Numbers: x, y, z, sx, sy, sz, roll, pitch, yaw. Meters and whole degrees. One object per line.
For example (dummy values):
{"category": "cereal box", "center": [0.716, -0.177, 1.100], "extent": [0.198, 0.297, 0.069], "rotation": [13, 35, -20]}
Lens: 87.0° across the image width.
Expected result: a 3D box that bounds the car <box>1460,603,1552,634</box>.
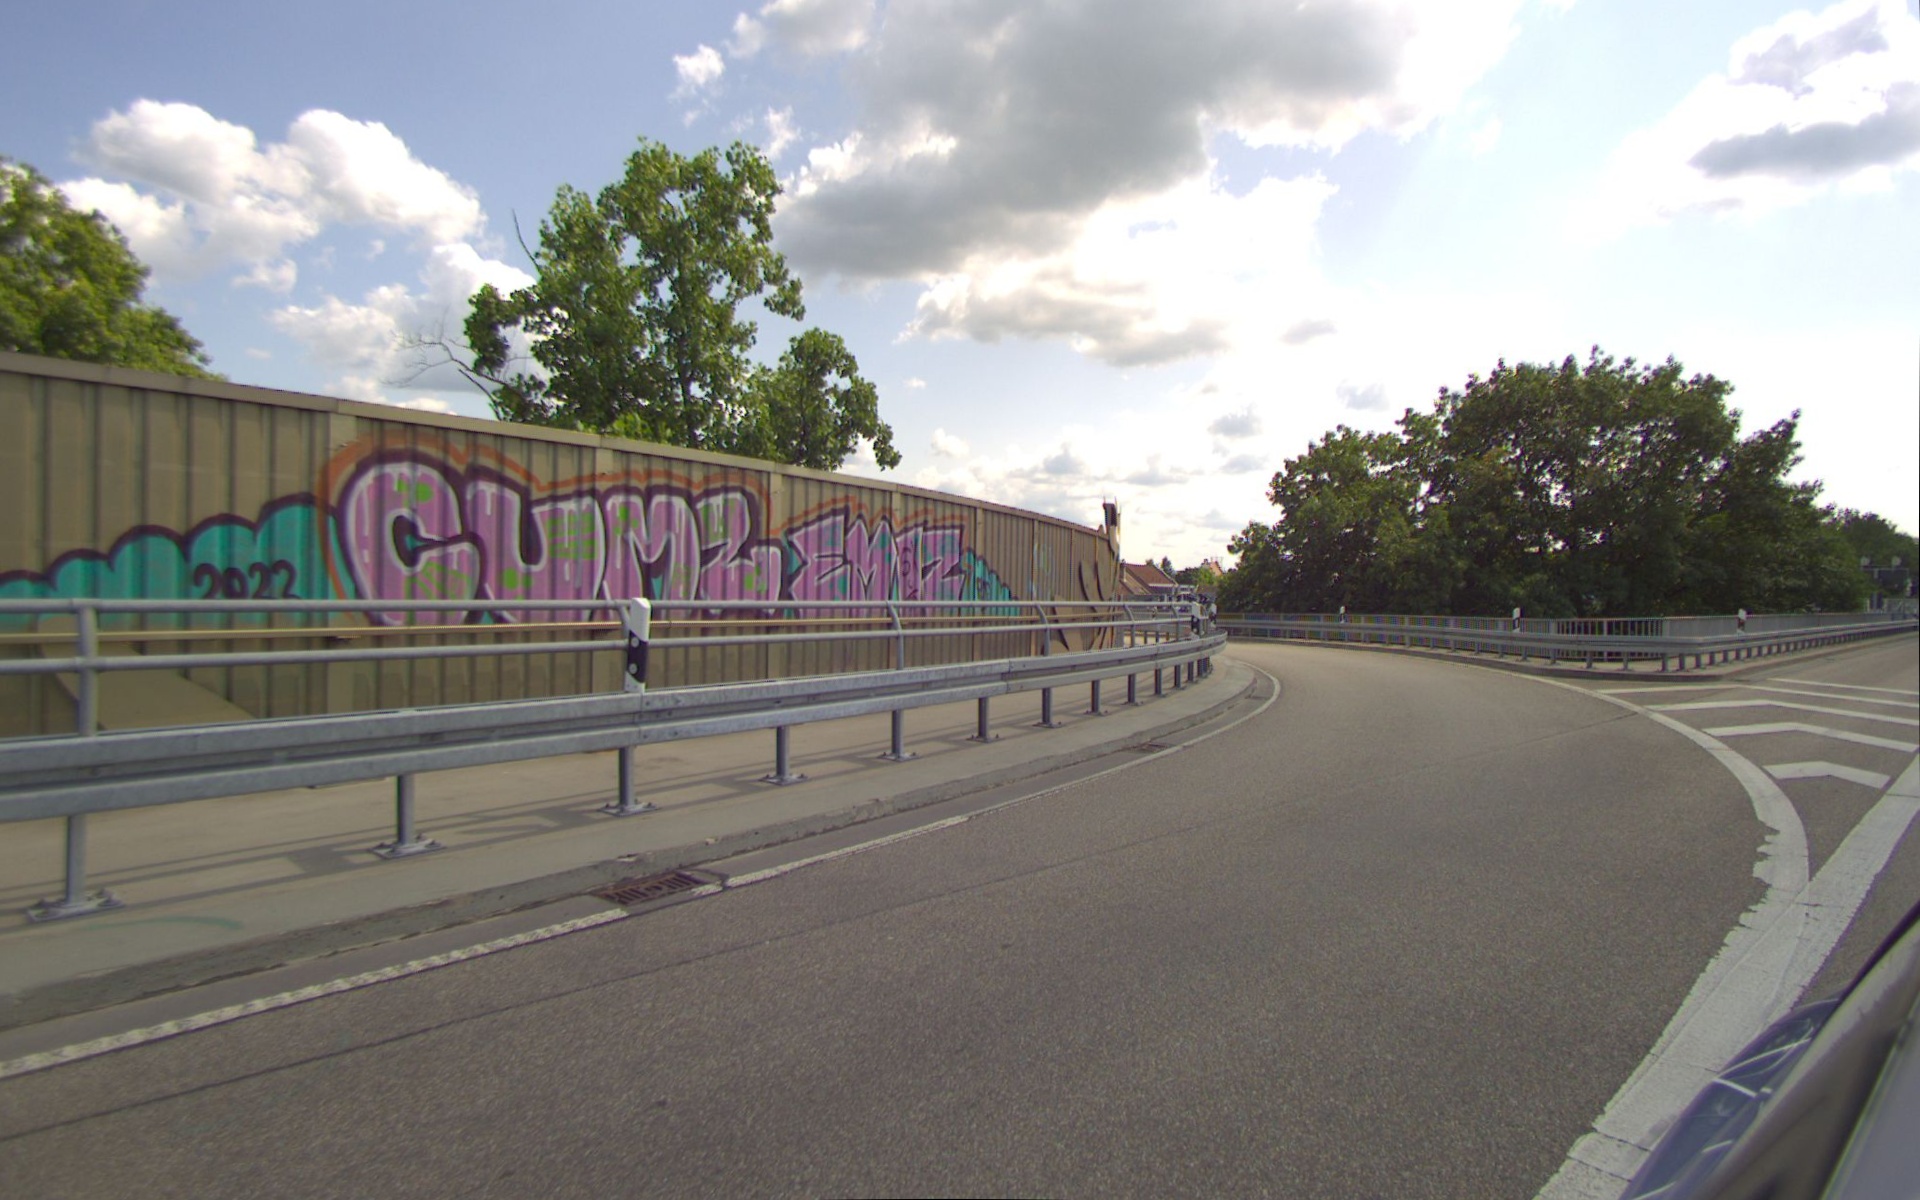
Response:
{"category": "car", "center": [26.201, 0.853, 48.692], "extent": [3.729, 1.430, 1.755], "rotation": [0, 0, 24]}
